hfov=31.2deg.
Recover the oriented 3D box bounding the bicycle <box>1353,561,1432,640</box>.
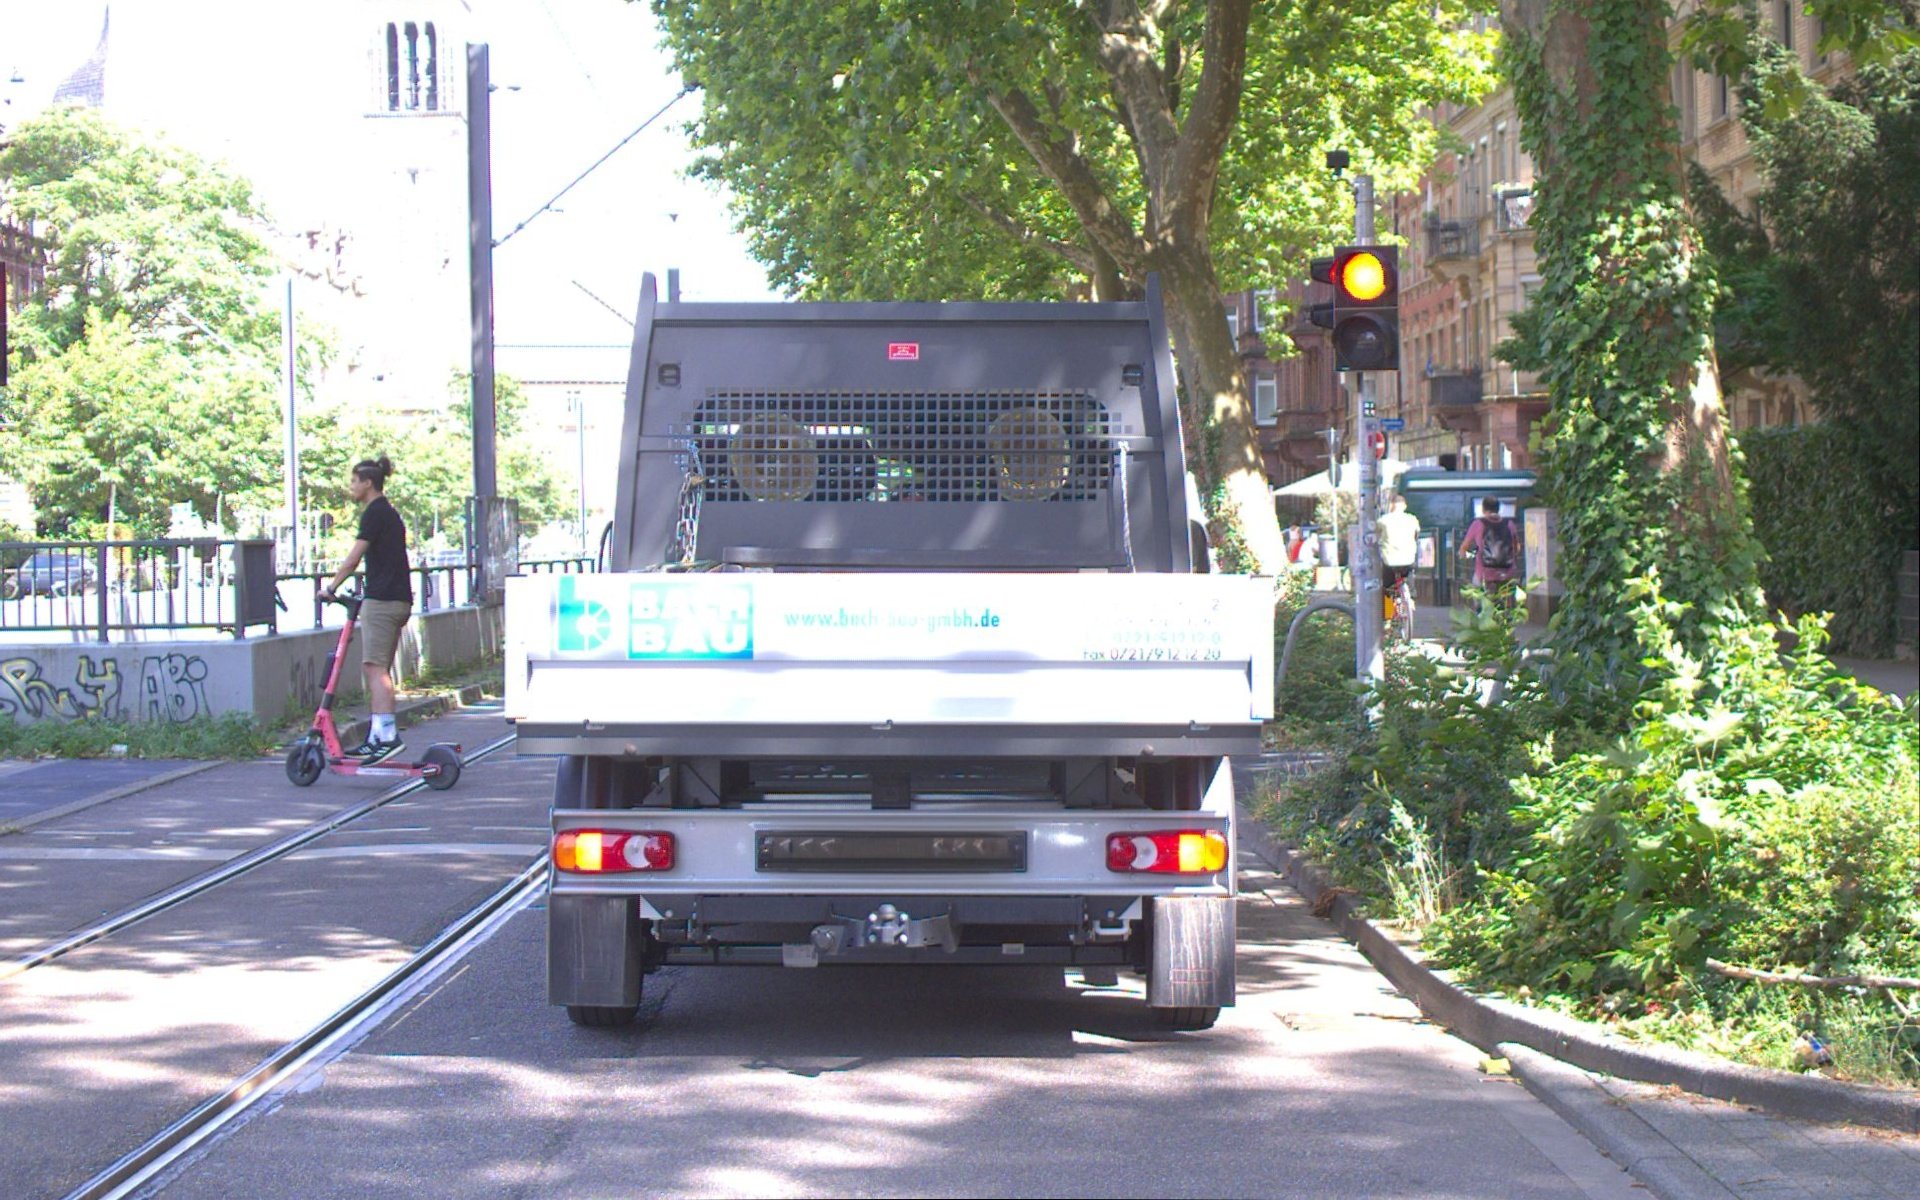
[{"bbox_3d":[5.084,-0.008,40.539,0.675,0.878,2.163,-1,1,1],"label":"bicycle"}]

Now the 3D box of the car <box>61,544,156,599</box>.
[{"bbox_3d":[-23.845,-0.817,96.339,1.770,1.493,4.001,-1,1,-2],"label":"car"}]

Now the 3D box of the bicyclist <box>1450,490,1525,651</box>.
[{"bbox_3d":[5.219,-0.292,34.006,0.638,1.568,0.579,-1,1,1],"label":"bicyclist"}]

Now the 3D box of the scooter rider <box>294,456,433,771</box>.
[{"bbox_3d":[-3.581,0.075,20.670,0.667,1.860,0.664,-1,1,3],"label":"scooter rider"}]

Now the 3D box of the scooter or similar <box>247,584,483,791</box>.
[{"bbox_3d":[-3.568,0.515,20.675,1.266,1.200,0.657,-1,1,3],"label":"scooter or similar"}]

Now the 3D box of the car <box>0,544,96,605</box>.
[{"bbox_3d":[-23.575,-0.669,88.503,1.770,1.493,4.001,-1,1,-2],"label":"car"}]

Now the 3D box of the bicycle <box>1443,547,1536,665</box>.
[{"bbox_3d":[5.214,0.038,33.974,0.565,1.108,2.310,-1,1,1],"label":"bicycle"}]

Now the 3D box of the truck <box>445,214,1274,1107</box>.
[{"bbox_3d":[-0.258,0.116,11.238,2.138,2.311,4.402,1,1,0],"label":"truck"}]

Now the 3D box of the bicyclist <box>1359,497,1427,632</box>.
[{"bbox_3d":[5.082,-0.419,40.372,0.680,1.558,0.777,-1,1,0],"label":"bicyclist"}]
